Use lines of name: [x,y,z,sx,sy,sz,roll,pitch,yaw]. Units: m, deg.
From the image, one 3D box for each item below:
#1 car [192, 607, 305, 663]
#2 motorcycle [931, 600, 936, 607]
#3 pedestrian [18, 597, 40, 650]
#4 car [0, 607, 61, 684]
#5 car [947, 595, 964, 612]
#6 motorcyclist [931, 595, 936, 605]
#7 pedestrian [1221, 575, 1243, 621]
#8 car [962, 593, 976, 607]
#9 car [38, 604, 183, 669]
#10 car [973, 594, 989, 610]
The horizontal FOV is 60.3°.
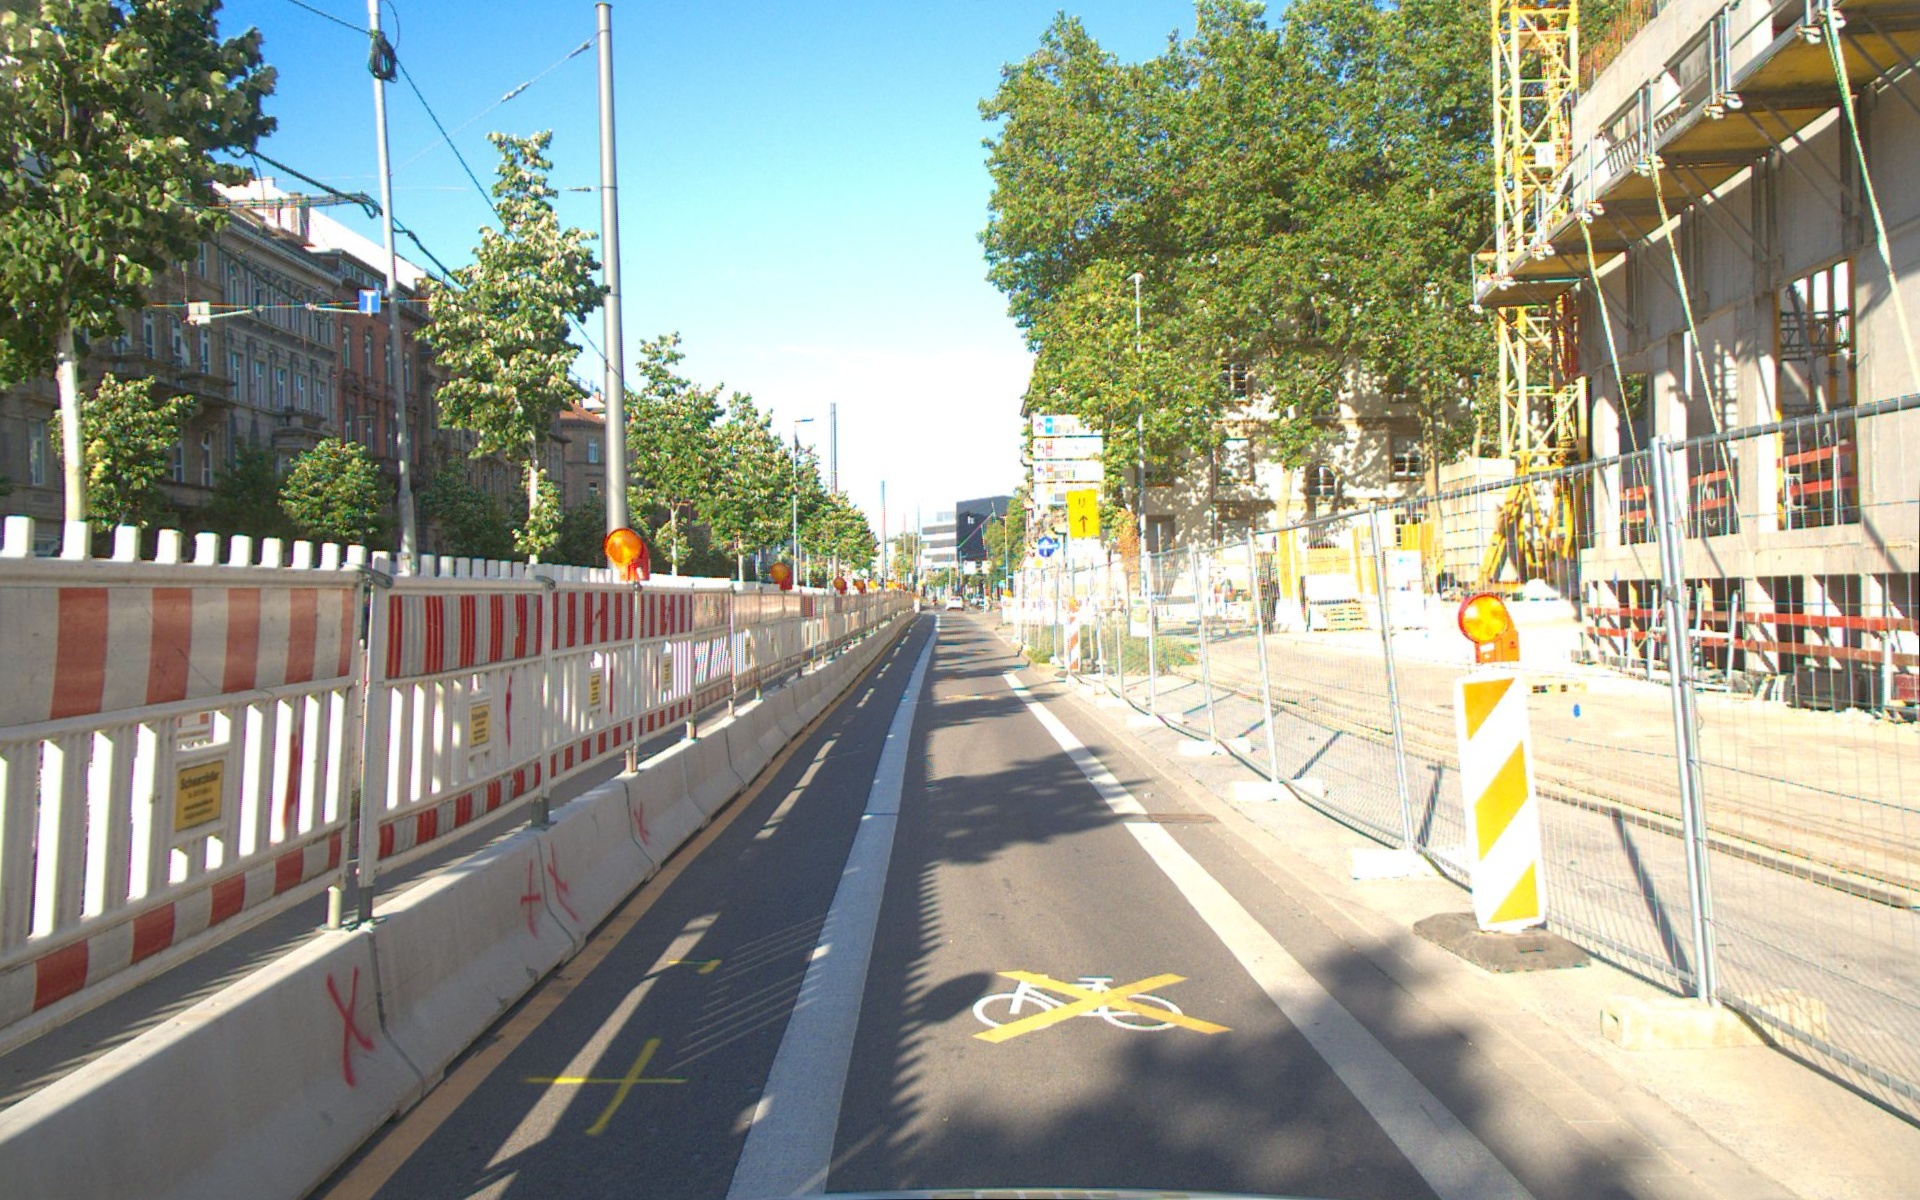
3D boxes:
car: [-22.100,1.059,51.552,1.534,1.590,4.714,-1,0,-1]
motorcycle: [-3.607,0.488,225.024,0.618,0.912,1.620,-1,0,-1]
pedestrian: [-27.747,0.692,49.291,0.397,1.561,0.435,1,0,0]
car: [-22.497,1.061,38.042,1.534,1.704,3.808,-1,0,-1]
car: [-0.562,0.389,184.792,1.845,1.875,3.667,-1,0,-1]
motorcyclist: [-3.625,-0.005,225.064,0.618,1.285,0.605,-1,0,-1]
pedestrian: [10.776,-0.087,65.512,0.759,1.776,0.671,-1,0,1]
car: [1.246,-0.001,230.108,1.845,1.875,3.667,-1,0,-1]
car: [-23.005,0.955,44.986,1.534,1.590,4.714,-1,0,-1]
car: [2.560,0.180,200.792,1.845,1.875,3.667,-1,0,-1]
